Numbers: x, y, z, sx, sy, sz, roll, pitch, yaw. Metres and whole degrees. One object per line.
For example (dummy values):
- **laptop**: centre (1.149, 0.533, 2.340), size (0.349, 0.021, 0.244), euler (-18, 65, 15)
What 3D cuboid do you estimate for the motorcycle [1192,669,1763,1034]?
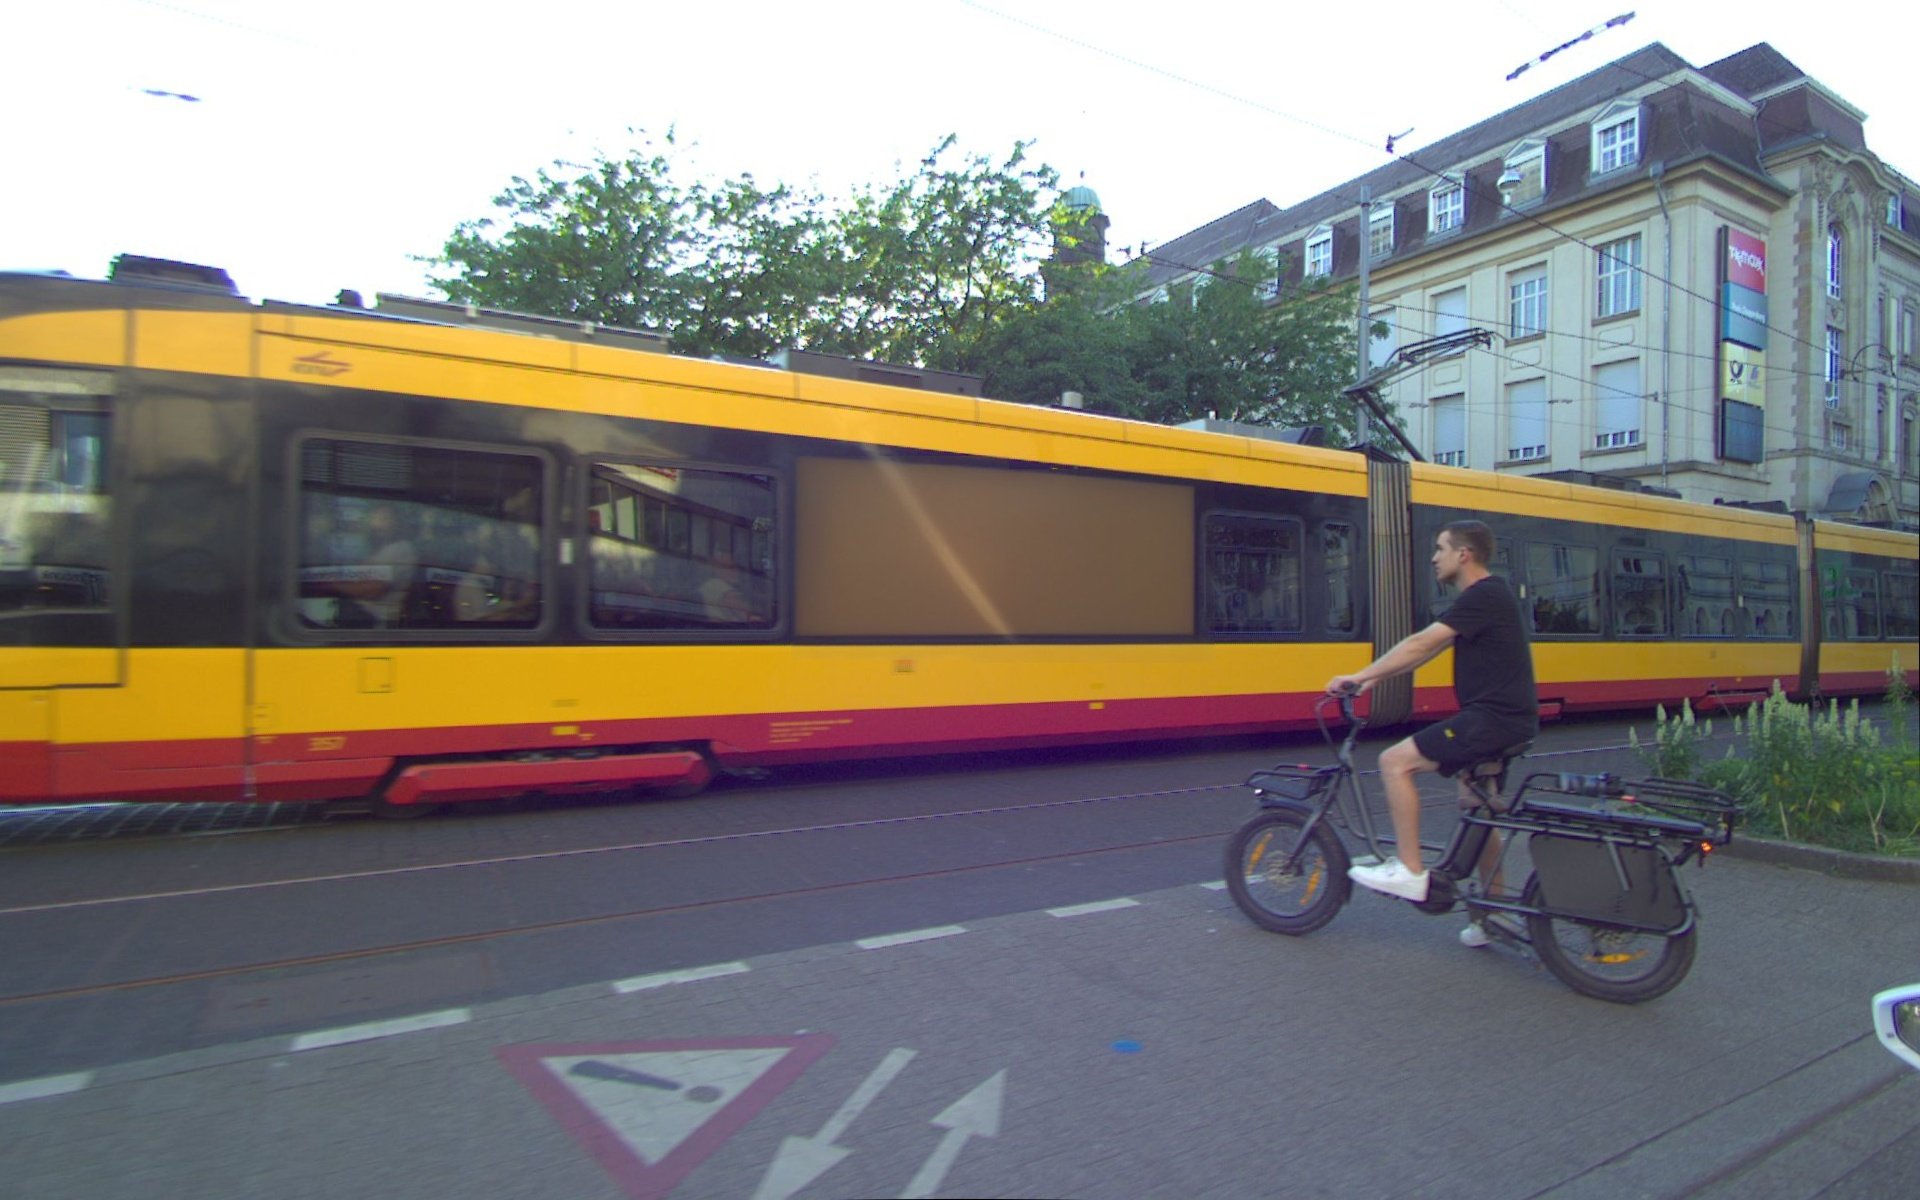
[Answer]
- **motorcycle**: centre (2.062, 0.914, 4.241), size (2.016, 1.138, 0.566), euler (1, -2, 34)

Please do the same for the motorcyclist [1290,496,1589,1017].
- **motorcyclist**: centre (2.041, 0.564, 4.229), size (0.988, 1.837, 0.957), euler (1, -2, 34)

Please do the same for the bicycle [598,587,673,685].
- **bicycle**: centre (-4.782, 0.514, 14.699), size (0.573, 1.317, 2.187), euler (3, -2, -29)

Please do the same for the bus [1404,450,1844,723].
- **bus**: centre (11.280, -0.060, 16.770), size (8.191, 3.672, 2.809), euler (2, -1, -30)

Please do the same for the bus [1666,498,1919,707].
- **bus**: centre (19.830, 0.253, 21.760), size (11.684, 3.660, 2.809), euler (2, -2, -30)

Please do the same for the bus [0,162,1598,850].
- **bus**: centre (0.517, -0.349, 10.336), size (16.870, 3.699, 2.809), euler (1, -1, -30)
